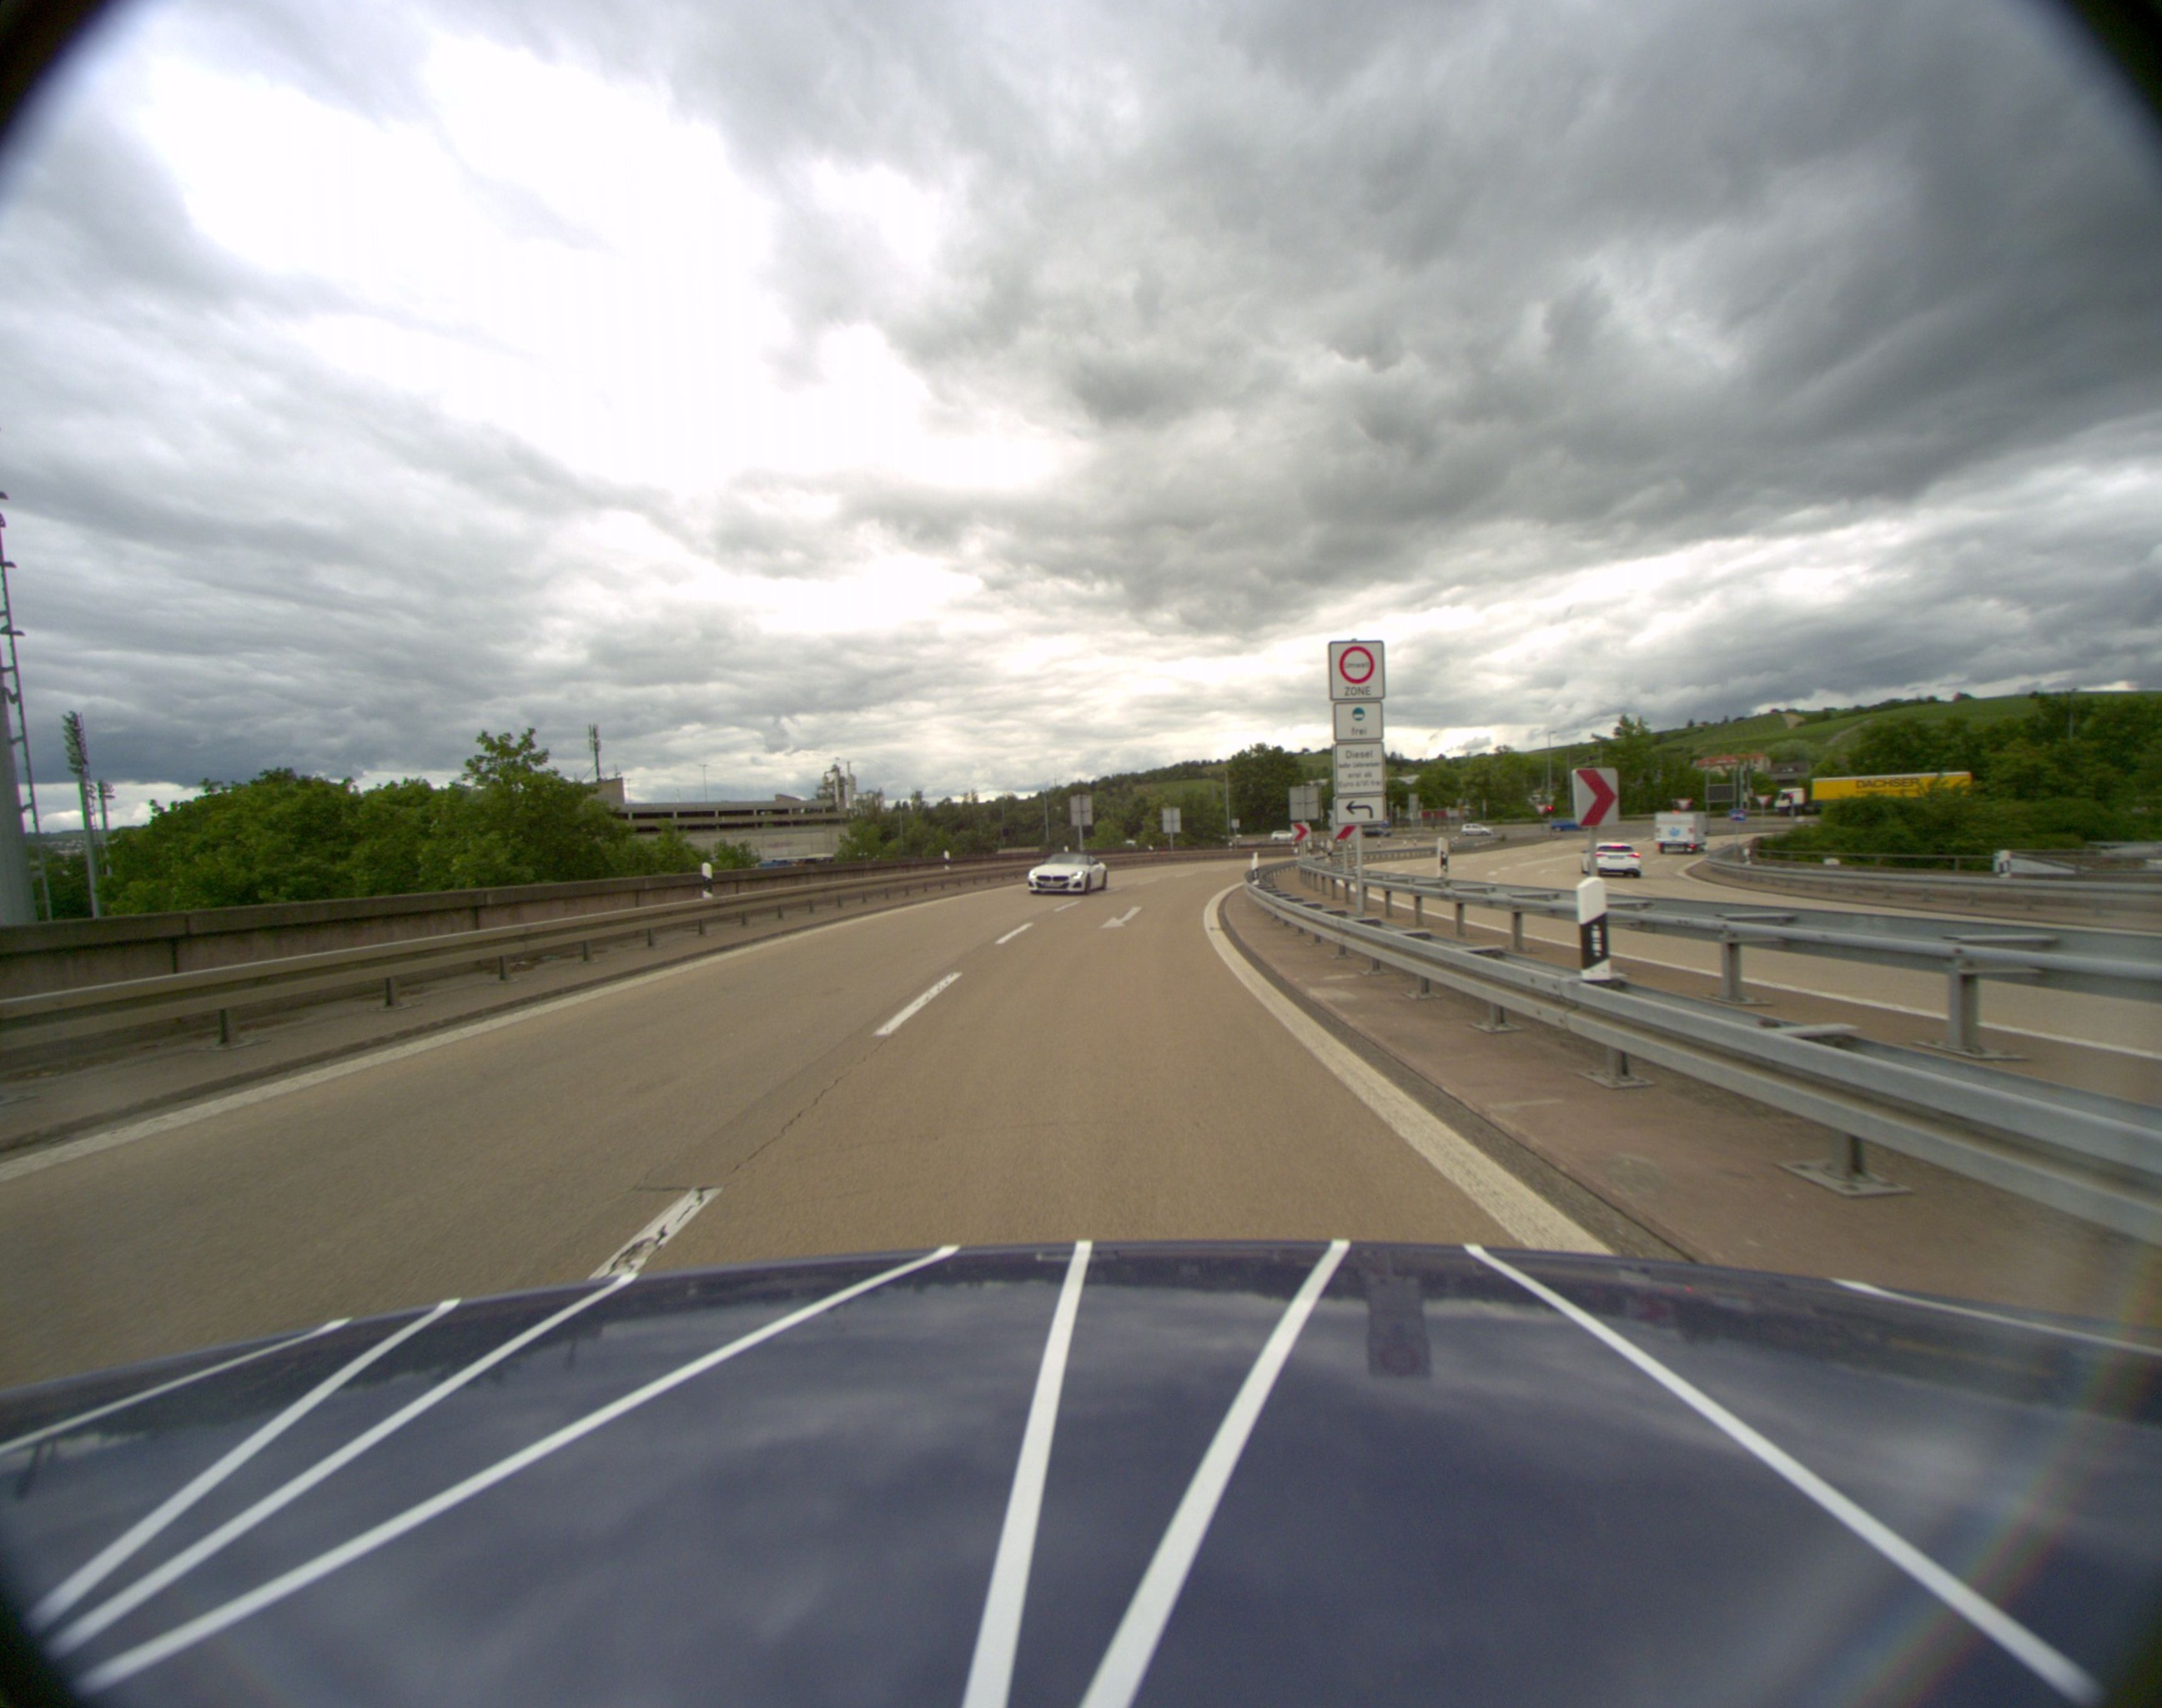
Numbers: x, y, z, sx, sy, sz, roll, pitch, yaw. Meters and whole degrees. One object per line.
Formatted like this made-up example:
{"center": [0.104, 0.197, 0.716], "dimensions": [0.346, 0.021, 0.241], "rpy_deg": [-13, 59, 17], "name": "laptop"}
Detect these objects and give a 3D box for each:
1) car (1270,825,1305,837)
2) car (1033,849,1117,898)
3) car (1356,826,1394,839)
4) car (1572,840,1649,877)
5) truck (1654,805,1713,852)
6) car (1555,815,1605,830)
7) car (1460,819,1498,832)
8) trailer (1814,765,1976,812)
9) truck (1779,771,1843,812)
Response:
{"center": [31.365, -3.496, 115.311], "dimensions": [1.880, 1.552, 4.702], "rpy_deg": [-8, 4, -43], "name": "car"}
{"center": [-0.079, 0.562, 25.087], "dimensions": [1.861, 1.337, 4.827], "rpy_deg": [1, 2, 10], "name": "car"}
{"center": [40.499, -2.967, 104.717], "dimensions": [1.951, 1.548, 4.283], "rpy_deg": [-8, 4, -44], "name": "car"}
{"center": [22.524, 0.131, 32.482], "dimensions": [1.912, 1.406, 4.372], "rpy_deg": [2, 2, 25], "name": "car"}
{"center": [44.075, -1.972, 55.508], "dimensions": [7.007, 3.246, 2.345], "rpy_deg": [-4, 5, -44], "name": "truck"}
{"center": [58.397, -3.729, 88.996], "dimensions": [1.612, 1.446, 4.530], "rpy_deg": [-7, 4, -41], "name": "car"}
{"center": [49.556, -3.550, 94.602], "dimensions": [1.631, 1.366, 3.739], "rpy_deg": [-8, 4, -43], "name": "car"}
{"center": [86.323, -6.838, 81.015], "dimensions": [2.639, 4.182, 11.623], "rpy_deg": [-7, 4, -43], "name": "trailer"}
{"center": [82.127, -7.030, 85.525], "dimensions": [2.639, 4.182, 5.087], "rpy_deg": [-7, 5, -43], "name": "truck"}
